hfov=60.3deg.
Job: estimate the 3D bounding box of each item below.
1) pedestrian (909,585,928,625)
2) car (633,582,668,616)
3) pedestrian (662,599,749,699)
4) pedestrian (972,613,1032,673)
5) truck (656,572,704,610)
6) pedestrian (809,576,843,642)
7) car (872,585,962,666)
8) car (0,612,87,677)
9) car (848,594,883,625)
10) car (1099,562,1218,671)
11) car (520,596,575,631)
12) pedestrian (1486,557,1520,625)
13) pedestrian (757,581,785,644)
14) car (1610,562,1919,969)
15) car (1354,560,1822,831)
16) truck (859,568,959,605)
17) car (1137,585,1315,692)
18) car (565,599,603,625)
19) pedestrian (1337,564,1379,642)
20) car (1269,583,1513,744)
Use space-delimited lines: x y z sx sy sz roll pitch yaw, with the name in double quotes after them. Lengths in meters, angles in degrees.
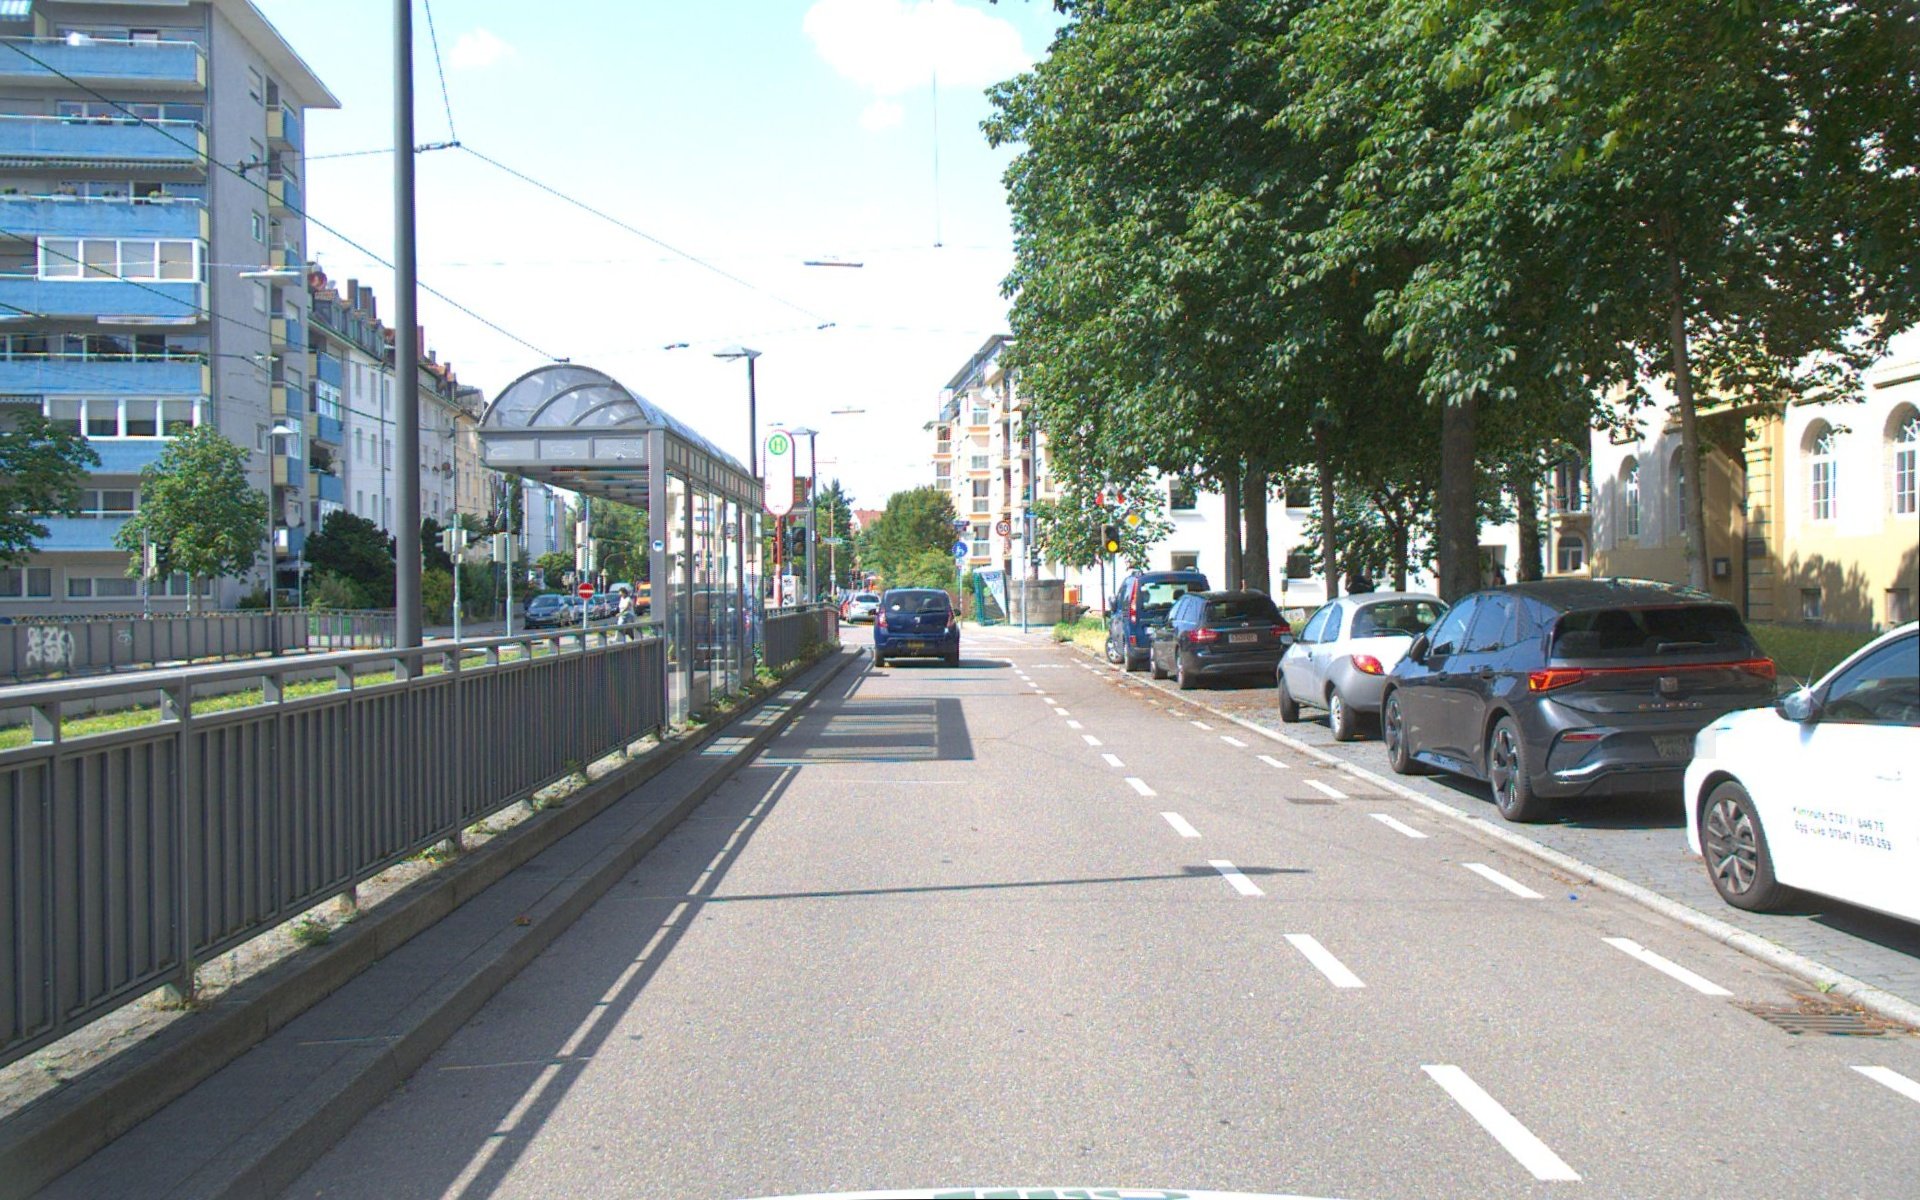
-1.928 0.223 76.710 0.687 1.820 1.029 -4 0 -5 "pedestrian"
-21.792 -0.085 116.501 1.955 2.315 4.827 2 0 -6 "car"
-2.894 0.548 18.841 0.650 1.091 0.722 0 1 33 "pedestrian"
1.470 1.508 59.084 1.953 2.049 3.999 1 0 -1 "pedestrian"
-24.942 -0.790 147.829 2.542 3.241 8.384 -2 0 2 "truck"
-3.493 0.232 43.204 0.828 1.697 0.798 -1 0 -4 "pedestrian"
-0.886 0.501 33.627 1.709 1.533 3.998 1 0 -2 "car"
-22.267 1.039 37.551 4.096 1.418 1.586 -1 0 -40 "car"
-4.710 0.486 82.027 1.591 1.490 3.506 1 0 -5 "car"
3.809 0.274 32.298 1.785 1.929 4.184 -2 1 0 "car"
-20.249 0.646 81.313 1.955 1.674 3.996 1 0 -5 "car"
13.247 -0.219 40.354 0.619 1.624 0.539 -1 0 -4 "pedestrian"
-5.095 0.340 44.680 0.691 1.677 0.636 1 -1 -5 "pedestrian"
4.602 0.622 6.945 1.799 1.550 4.250 -3 0 -4 "car"
4.433 0.570 12.541 1.690 1.611 4.676 -2 0 -1 "car"
-5.231 -1.360 169.444 9.958 3.531 2.667 1 -1 -13 "truck"
4.207 0.548 26.951 1.879 1.467 4.794 -3 1 -2 "car"
-22.050 0.710 97.203 1.734 1.467 3.994 1 0 -7 "car"
9.018 0.063 37.524 0.729 1.726 0.767 -1 0 -1 "pedestrian"
4.455 0.603 17.605 1.558 1.470 3.597 -3 0 -1 "car"
